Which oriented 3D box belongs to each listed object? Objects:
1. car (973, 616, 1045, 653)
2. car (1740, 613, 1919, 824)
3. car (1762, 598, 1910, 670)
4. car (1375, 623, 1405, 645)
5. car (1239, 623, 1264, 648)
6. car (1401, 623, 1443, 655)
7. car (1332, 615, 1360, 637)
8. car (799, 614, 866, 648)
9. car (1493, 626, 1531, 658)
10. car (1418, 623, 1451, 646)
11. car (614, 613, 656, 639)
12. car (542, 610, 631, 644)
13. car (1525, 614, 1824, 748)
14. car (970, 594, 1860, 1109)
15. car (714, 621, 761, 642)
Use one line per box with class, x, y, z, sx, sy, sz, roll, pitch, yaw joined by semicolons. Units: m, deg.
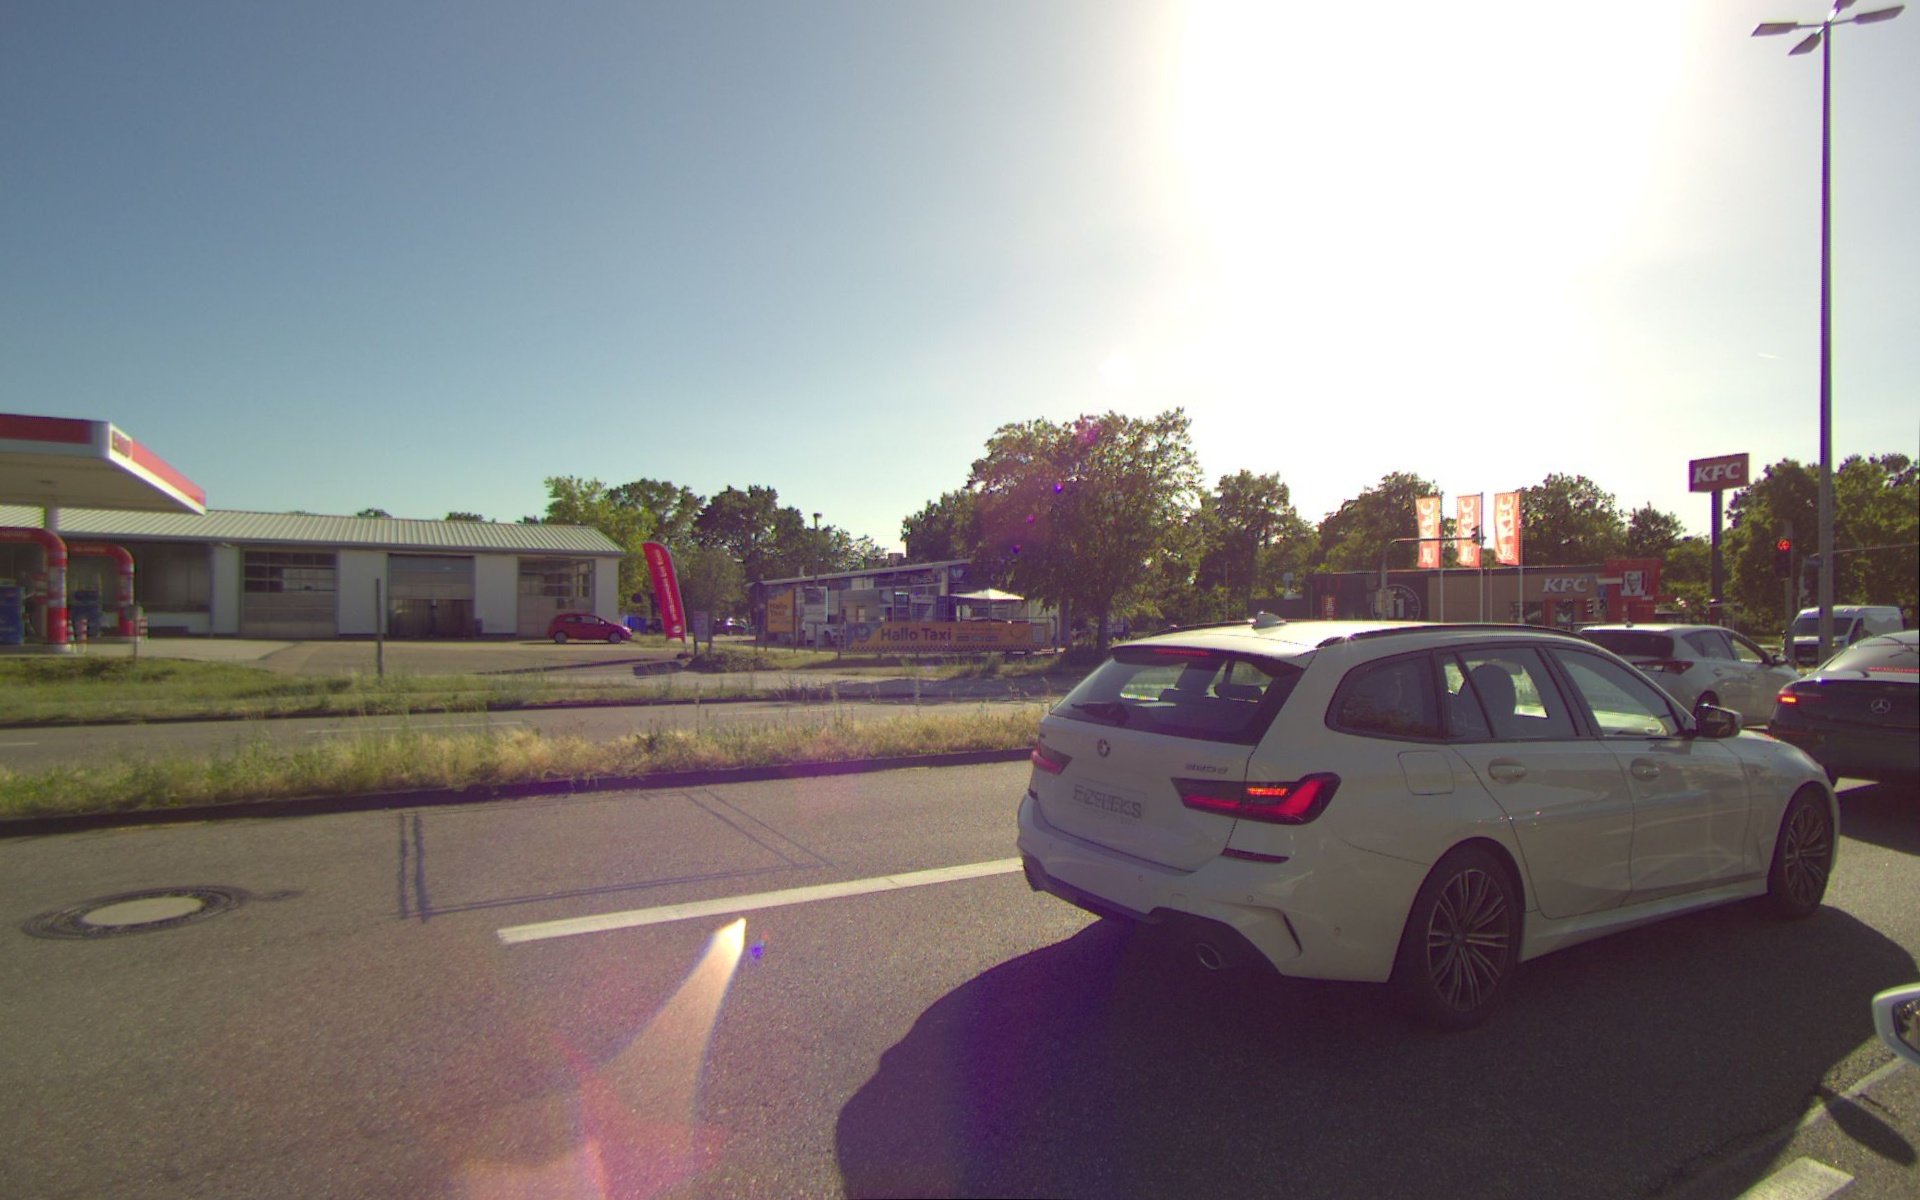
car;2.382;1.670;49.548;1.839;1.613;3.974;2;0;-26
car;8.760;0.931;8.628;4.425;1.510;1.787;2;0;-31
car;32.048;1.283;36.725;5.747;2.478;2.016;1;-4;-27
car;31.288;2.447;73.210;1.629;1.491;3.919;2;0;18
car;21.798;2.625;75.143;1.629;1.695;3.945;2;0;18
car;28.330;2.344;61.510;1.964;1.788;4.349;2;0;29
car;28.277;1.896;73.646;1.629;1.491;3.919;2;0;18
car;-6.783;1.624;53.111;1.978;1.584;3.964;2;0;-32
car;33.076;2.474;60.192;1.880;1.776;4.349;2;0;29
car;33.921;2.456;71.937;1.629;1.491;3.919;2;0;18
car;-19.343;1.552;59.722;1.634;1.383;3.744;2;0;-29
car;-18.361;1.341;49.397;3.946;1.537;1.772;2;0;-25
car;9.576;1.001;13.396;4.150;1.510;1.750;2;0;-31
car;2.369;0.798;4.865;4.353;1.510;1.776;2;0;-31
car;-19.396;2.730;87.591;3.929;1.634;1.996;2;0;-11
